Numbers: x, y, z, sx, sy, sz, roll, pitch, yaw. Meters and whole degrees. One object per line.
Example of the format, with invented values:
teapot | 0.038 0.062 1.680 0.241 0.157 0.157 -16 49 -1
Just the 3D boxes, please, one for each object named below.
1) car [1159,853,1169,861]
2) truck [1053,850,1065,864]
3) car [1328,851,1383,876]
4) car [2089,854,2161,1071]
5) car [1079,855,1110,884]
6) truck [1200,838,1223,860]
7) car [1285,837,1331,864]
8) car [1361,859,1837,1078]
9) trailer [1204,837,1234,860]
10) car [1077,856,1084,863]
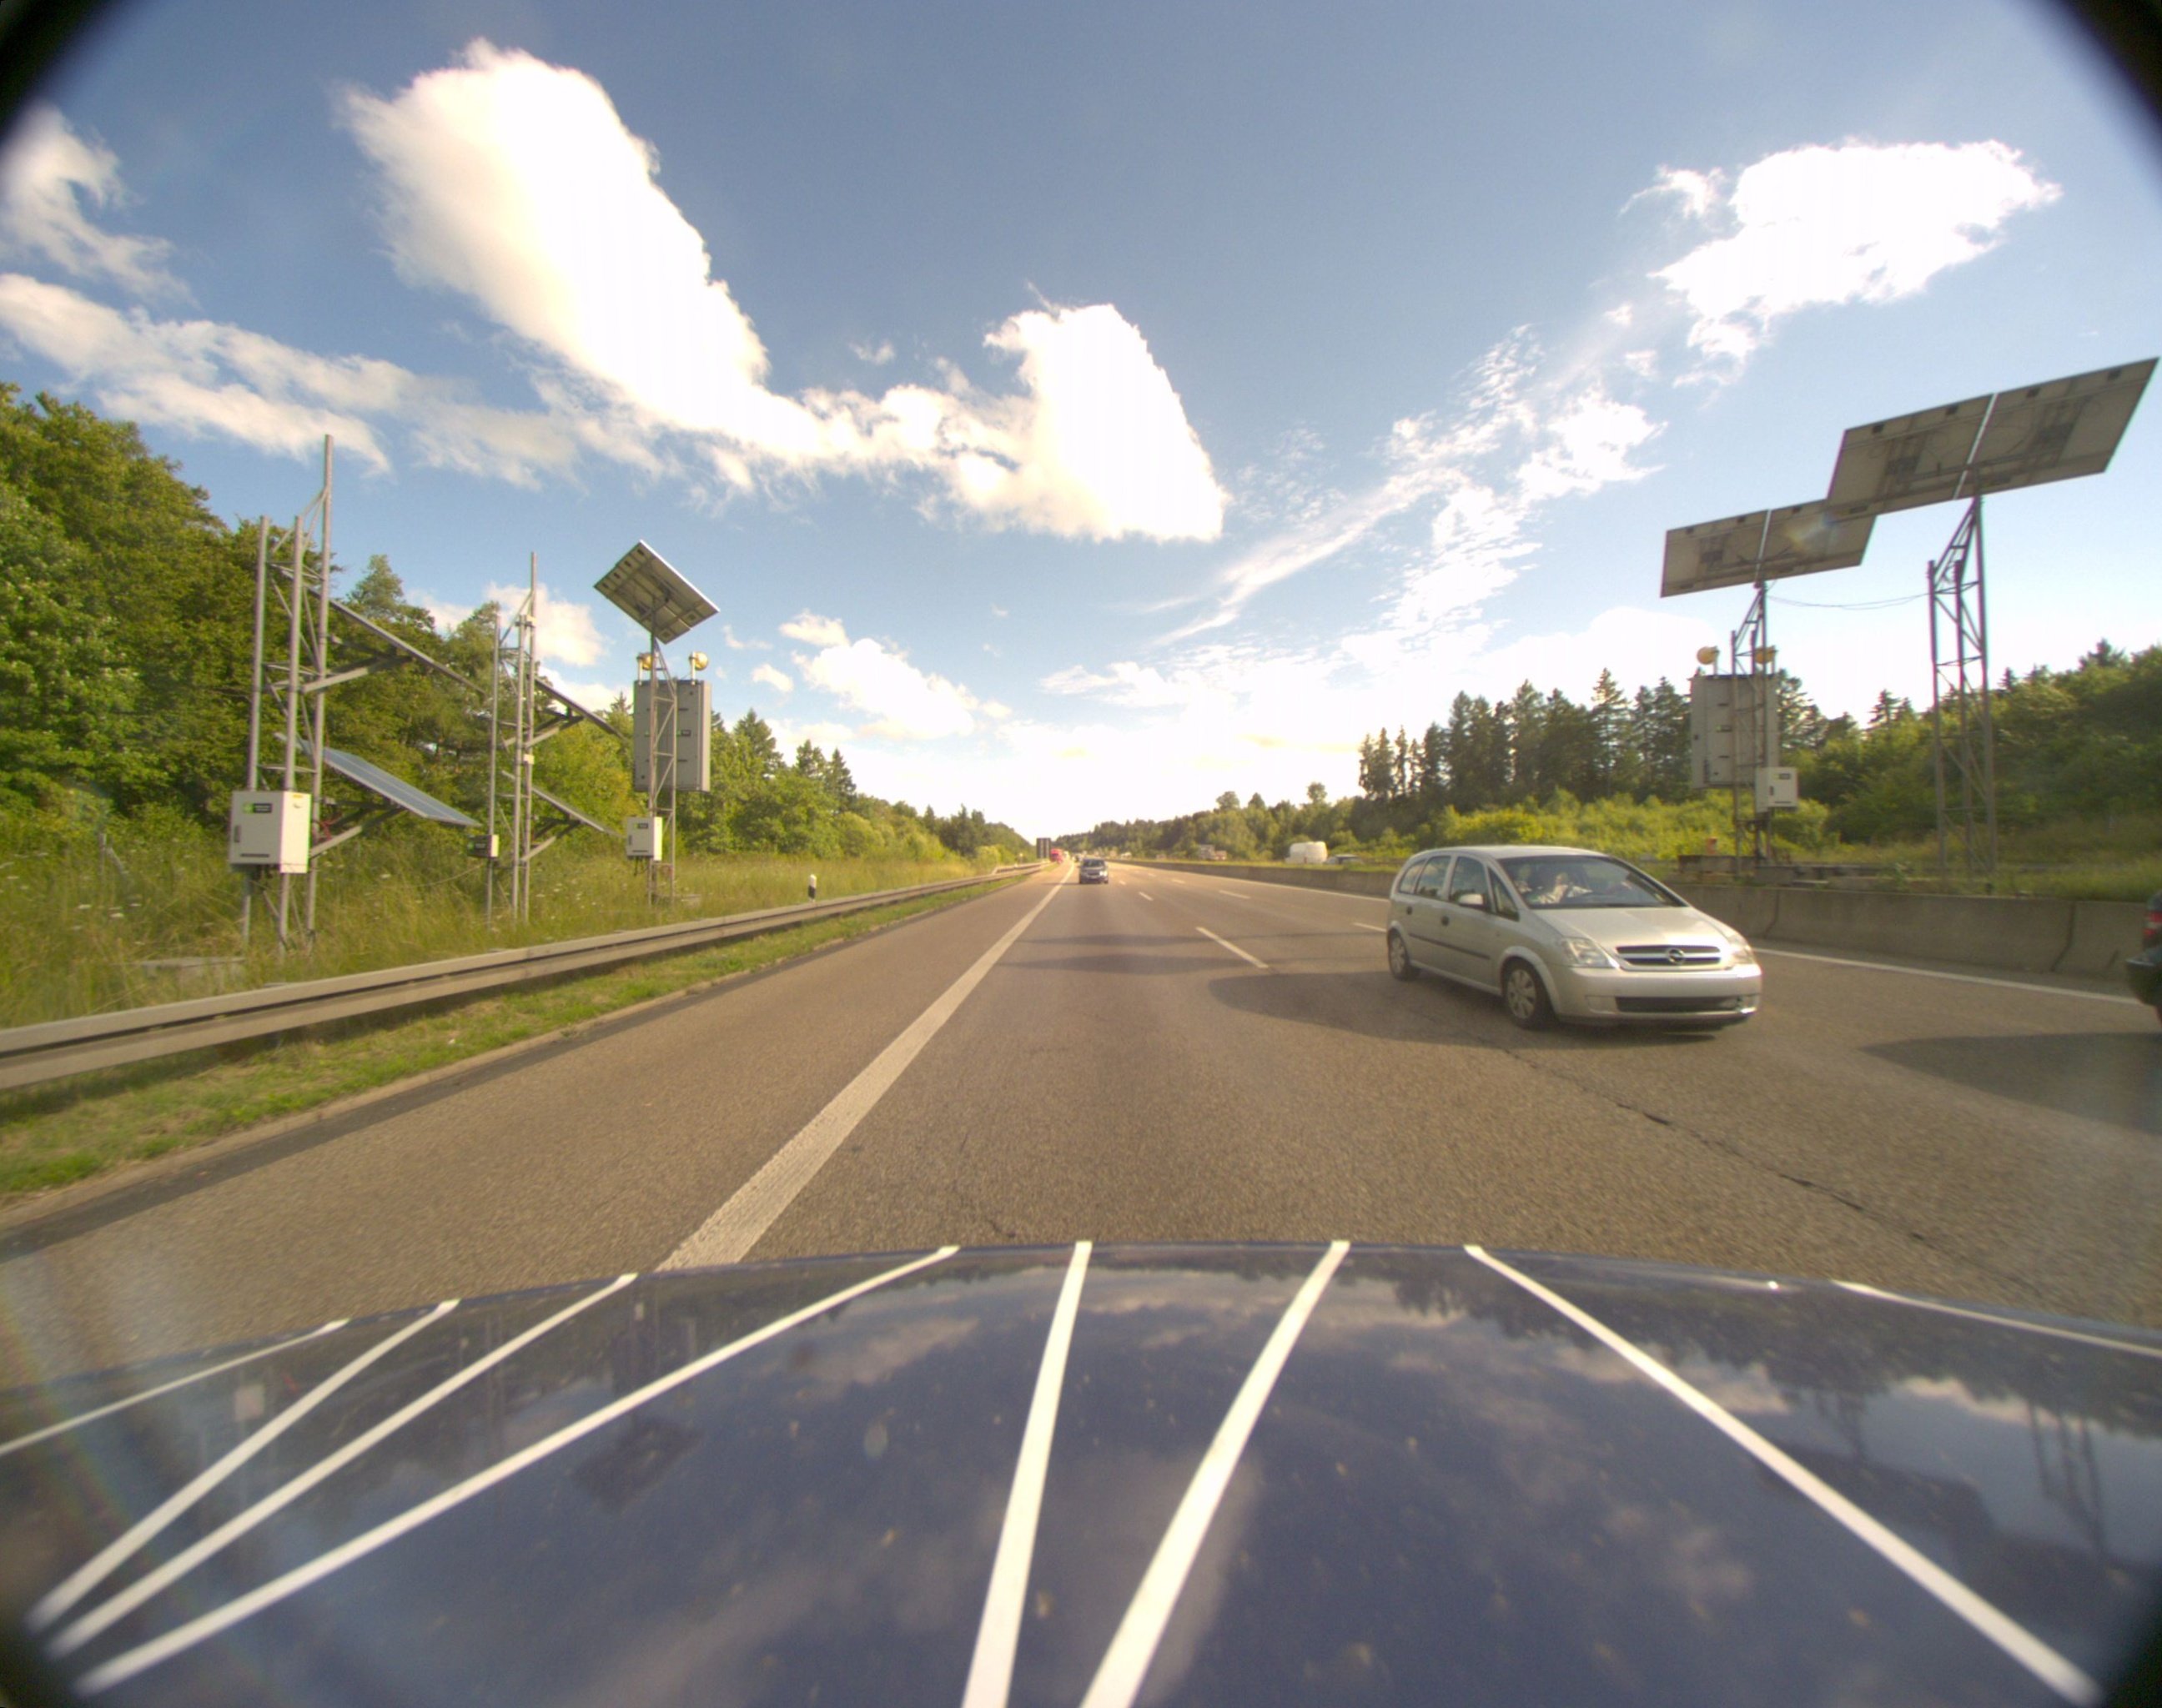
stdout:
car | 20.037 0.750 183.649 1.998 2.002 4.859 -1 0 1
truck | -6.108 0.813 208.931 2.880 3.871 8.958 -2 0 0
car | 17.022 0.567 47.352 1.998 1.444 4.000 -1 0 1
car | 8.439 0.747 3.510 1.840 1.508 4.333 -1 0 1
car | 0.824 0.900 46.366 1.742 1.608 4.083 -1 0 1
truck | 24.130 -0.903 140.739 3.122 3.815 7.123 -1 0 0
car | 20.074 -0.301 67.597 2.114 2.299 6.724 -1 0 1
car | 4.512 0.834 7.610 1.840 1.508 4.333 -1 0 1
trailer | 24.061 -0.884 133.320 3.132 3.815 12.209 -1 0 0
car | -0.089 1.613 236.970 1.998 2.124 4.000 -1 0 1
